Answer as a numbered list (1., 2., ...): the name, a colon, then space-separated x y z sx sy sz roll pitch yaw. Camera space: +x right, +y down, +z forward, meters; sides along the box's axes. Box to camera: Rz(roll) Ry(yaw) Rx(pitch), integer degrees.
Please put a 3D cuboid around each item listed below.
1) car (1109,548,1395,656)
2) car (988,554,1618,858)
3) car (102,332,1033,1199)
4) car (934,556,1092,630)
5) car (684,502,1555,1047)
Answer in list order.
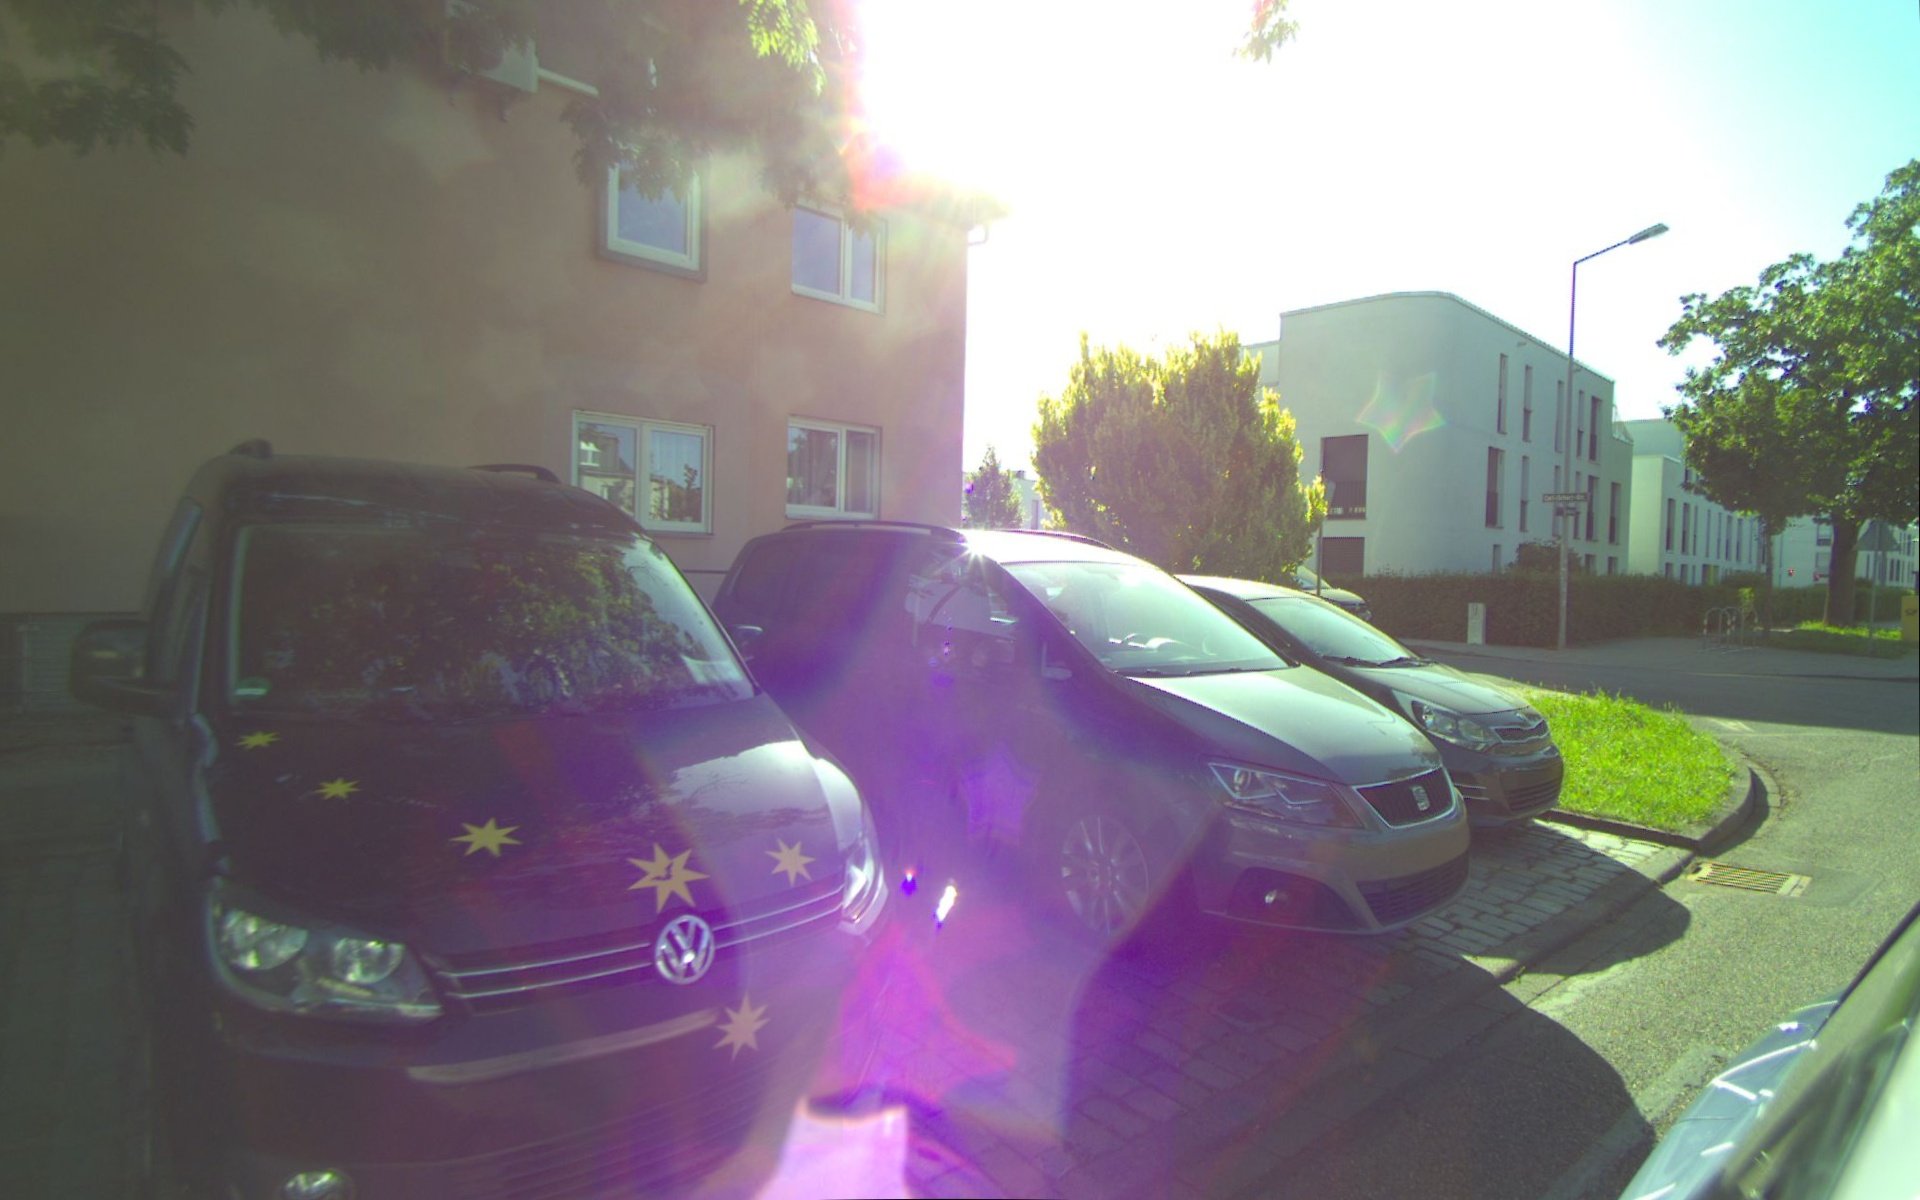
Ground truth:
1. car: 5.618 -0.084 20.058 1.882 1.837 5.199 -1 3 -44
2. car: 2.171 0.486 7.301 1.654 1.377 3.954 0 5 -41
3. car: -1.892 0.344 3.629 1.758 1.803 4.222 0 5 -41
4. car: 1.238 -0.228 24.703 1.880 1.623 3.555 0 2 -42
5. car: 0.397 0.399 5.545 1.847 1.699 4.513 -1 5 -42
